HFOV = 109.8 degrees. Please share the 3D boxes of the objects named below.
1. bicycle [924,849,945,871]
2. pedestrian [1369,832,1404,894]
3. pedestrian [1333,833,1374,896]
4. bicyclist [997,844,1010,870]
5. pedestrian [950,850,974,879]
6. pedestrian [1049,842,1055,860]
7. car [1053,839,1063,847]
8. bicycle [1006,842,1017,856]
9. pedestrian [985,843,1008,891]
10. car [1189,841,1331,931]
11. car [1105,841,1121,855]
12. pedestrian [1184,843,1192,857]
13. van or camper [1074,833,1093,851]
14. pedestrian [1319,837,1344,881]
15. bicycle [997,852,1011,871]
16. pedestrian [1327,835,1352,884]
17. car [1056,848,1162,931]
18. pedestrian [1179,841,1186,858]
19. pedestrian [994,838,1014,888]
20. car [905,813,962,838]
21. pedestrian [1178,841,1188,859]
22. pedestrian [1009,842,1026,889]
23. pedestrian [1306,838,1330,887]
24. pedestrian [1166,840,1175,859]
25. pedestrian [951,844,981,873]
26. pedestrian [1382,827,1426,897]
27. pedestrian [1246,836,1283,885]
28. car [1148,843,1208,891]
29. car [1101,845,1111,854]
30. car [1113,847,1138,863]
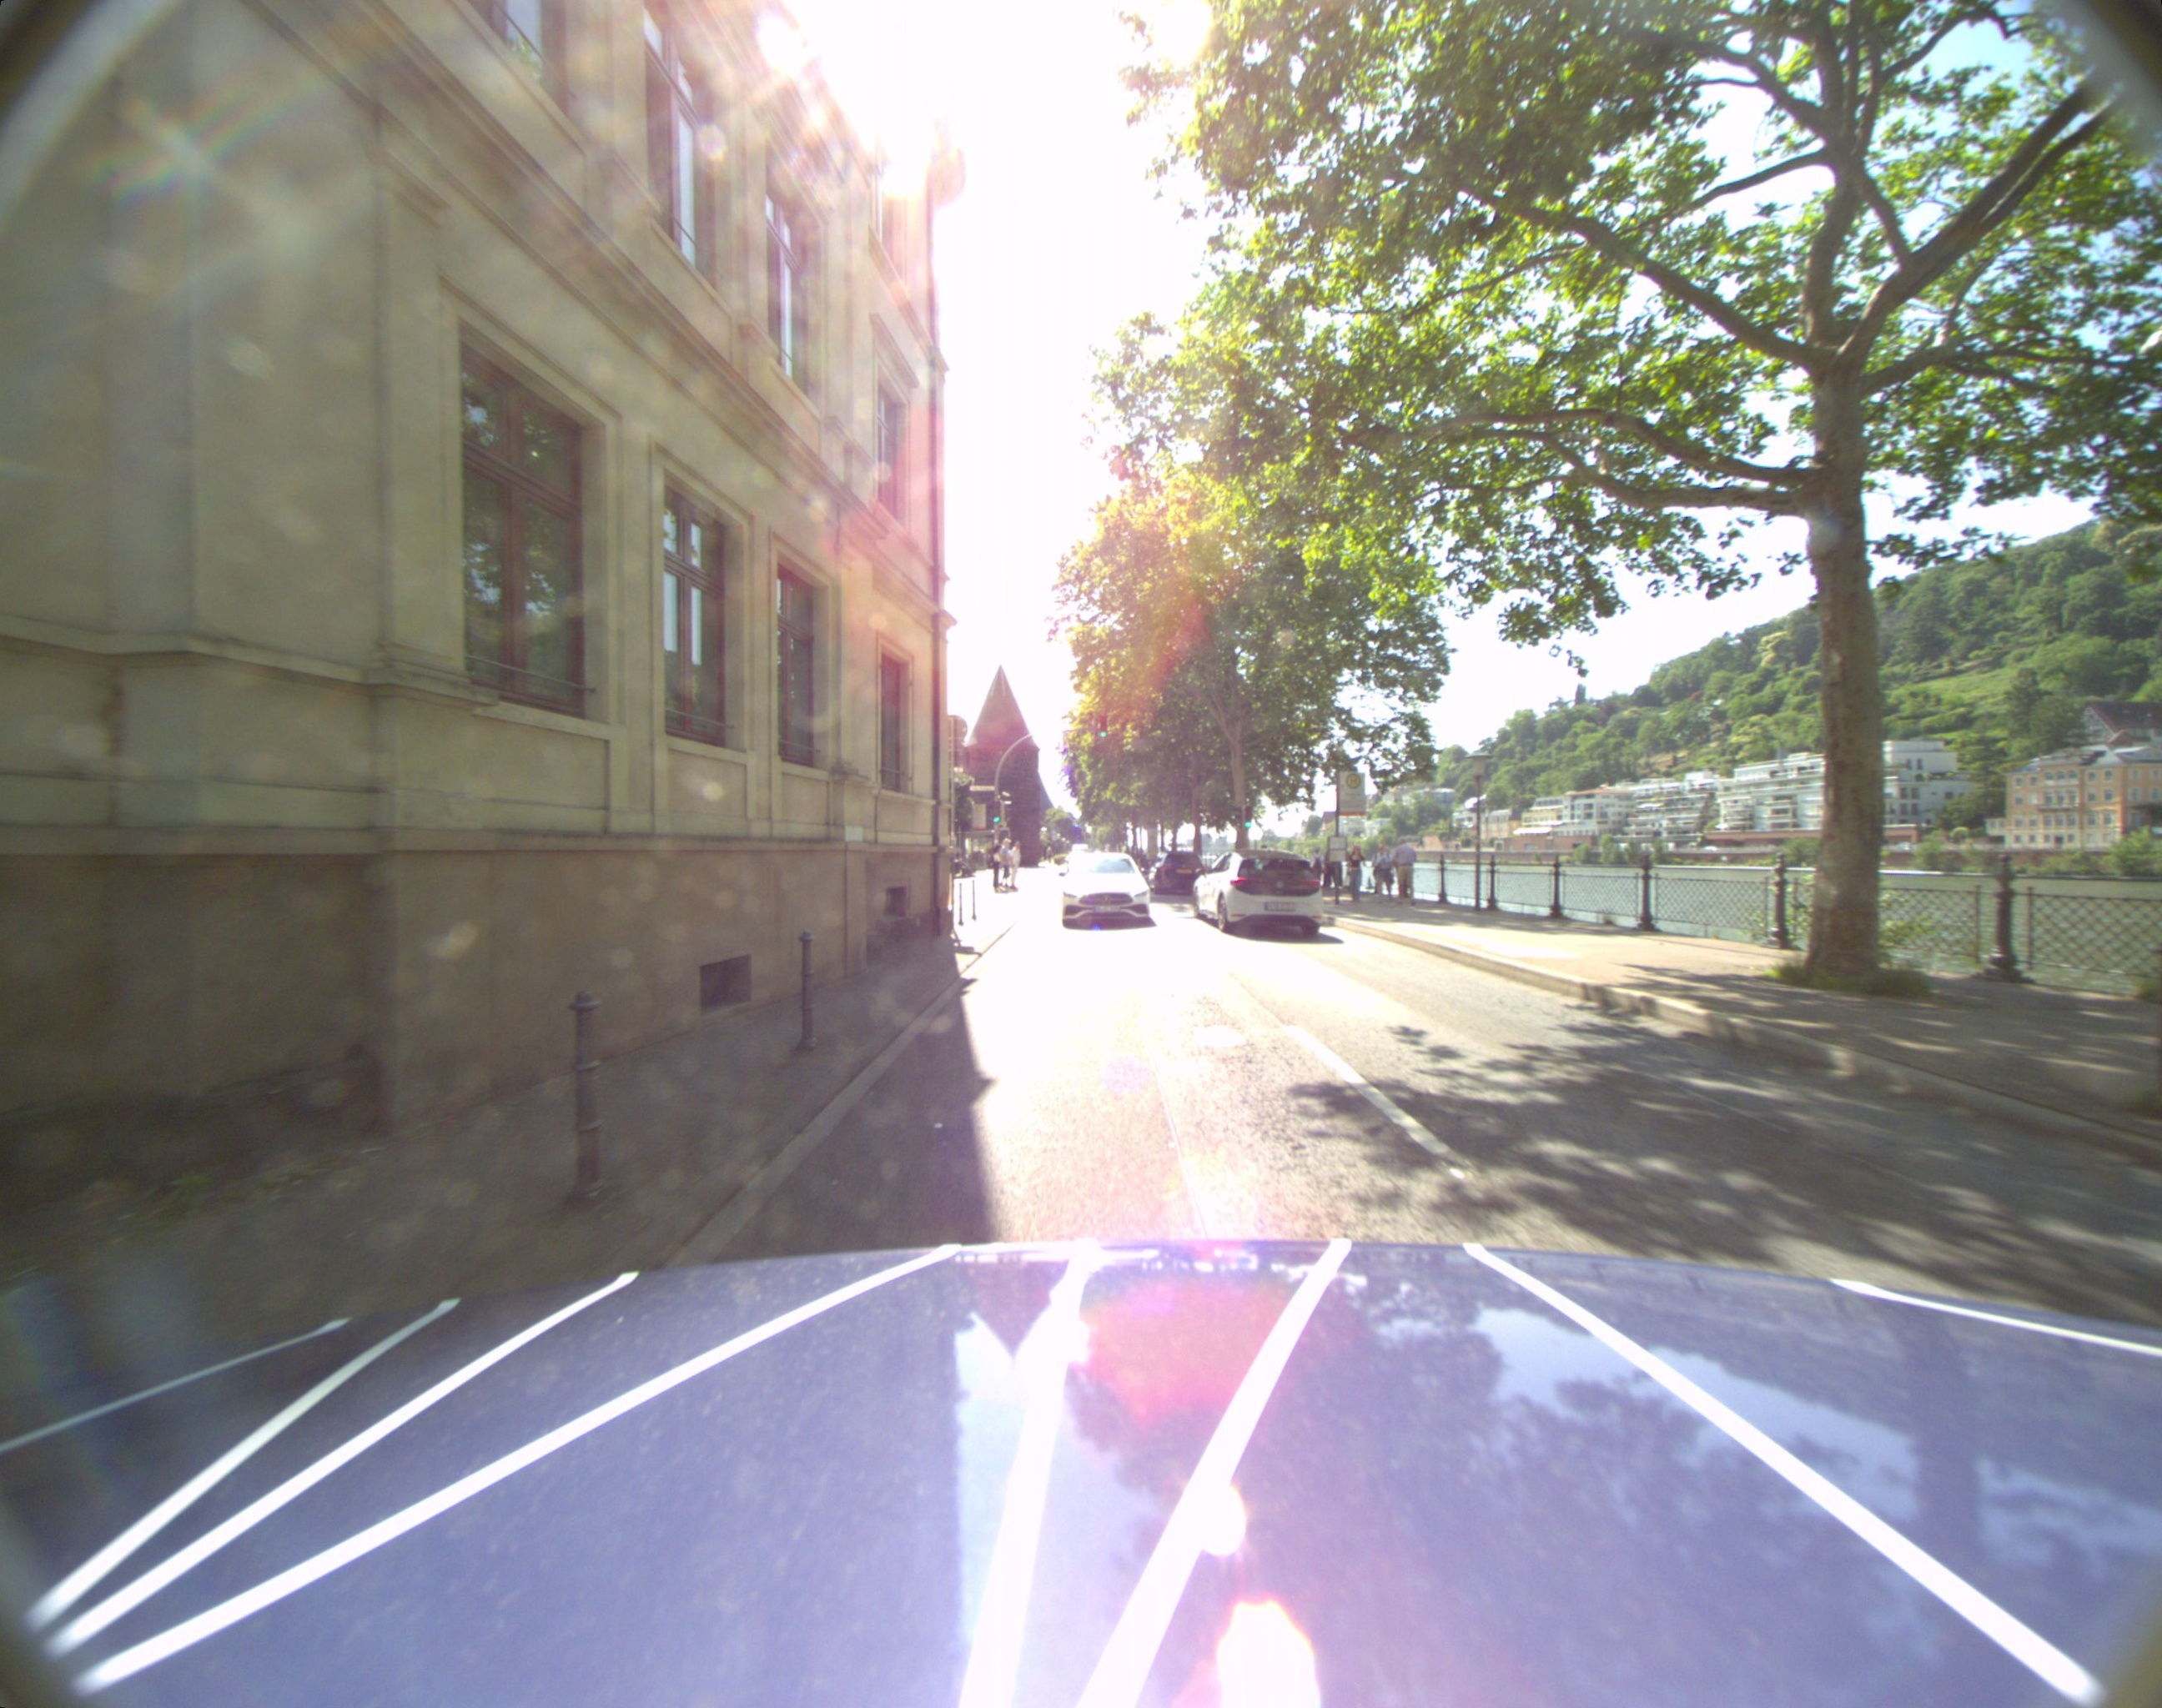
[{"bbox_3d":[-7.753,0.322,40.281,0.548,1.125,1.733,-2,2,-29],"label":"bicycle"},{"bbox_3d":[8.605,0.242,21.405,0.654,1.704,0.793,0,1,-1],"label":"pedestrian"},{"bbox_3d":[7.572,0.270,21.129,0.837,1.704,0.782,-1,2,0],"label":"pedestrian"},{"bbox_3d":[-4.816,0.167,47.317,0.711,1.619,0.886,-2,2,-11],"label":"bicyclist"},{"bbox_3d":[-5.433,0.454,34.784,0.963,1.275,0.693,-2,2,-2],"label":"pedestrian"},{"bbox_3d":[-3.086,-0.324,80.455,0.556,1.844,1.023,-1,1,0],"label":"pedestrian"},{"bbox_3d":[-4.853,-2.419,163.260,1.999,1.599,4.257,-1,1,0],"label":"car"},{"bbox_3d":[-6.046,-0.440,66.209,0.845,1.146,1.844,-1,1,0],"label":"bicycle"},{"bbox_3d":[-2.975,0.459,26.778,0.717,1.666,0.682,-1,2,0],"label":"pedestrian"},{"bbox_3d":[3.355,0.517,15.122,1.740,1.509,4.403,0,1,0],"label":"car"},{"bbox_3d":[3.747,-0.749,89.196,1.705,1.509,4.404,2,1,2],"label":"car"},{"bbox_3d":[10.031,-0.343,71.217,0.633,1.312,0.552,0,2,0],"label":"pedestrian"},{"bbox_3d":[0.303,-1.541,98.403,2.437,2.271,6.202,-1,1,0],"label":"van or camper"},{"bbox_3d":[9.425,0.168,28.589,0.550,1.599,0.910,-4,2,0],"label":"pedestrian"},{"bbox_3d":[-4.813,0.454,47.315,0.691,1.123,2.007,-2,1,-11],"label":"bicycle"},{"bbox_3d":[9.261,0.192,27.247,0.620,1.691,0.695,-2,2,0],"label":"pedestrian"},{"bbox_3d":[0.524,0.619,16.077,1.875,1.416,4.744,-2,1,1],"label":"car"},{"bbox_3d":[9.506,-0.418,71.187,0.633,1.618,0.552,-1,2,0],"label":"pedestrian"},{"bbox_3d":[-2.894,0.314,28.475,0.618,1.841,0.730,-1,2,1],"label":"pedestrian"},{"bbox_3d":[-12.526,-2.457,64.660,4.266,1.866,1.800,-3,2,7],"label":"car"},{"bbox_3d":[9.621,-0.388,71.462,0.793,1.674,0.709,-2,2,0],"label":"pedestrian"},{"bbox_3d":[-2.324,0.408,27.914,0.528,1.702,0.665,-1,2,0],"label":"pedestrian"},{"bbox_3d":[8.001,0.281,25.660,0.495,1.608,0.991,-1,2,0],"label":"pedestrian"},{"bbox_3d":[8.488,-0.443,72.351,0.760,1.721,0.729,-1,2,0],"label":"pedestrian"},{"bbox_3d":[-5.352,0.187,35.456,1.250,1.300,0.693,-1,2,-2],"label":"pedestrian"},{"bbox_3d":[8.384,0.194,19.759,0.713,1.754,0.972,-1,2,0],"label":"pedestrian"},{"bbox_3d":[6.664,0.225,27.571,1.022,1.763,0.770,0,2,41],"label":"pedestrian"},{"bbox_3d":[3.396,0.398,27.387,1.705,1.509,4.404,1,1,2],"label":"car"},{"bbox_3d":[4.593,-0.880,139.395,1.875,1.661,4.744,0,0,1],"label":"car"},{"bbox_3d":[3.915,0.070,67.386,1.845,1.262,4.261,2,1,-1],"label":"car"}]
